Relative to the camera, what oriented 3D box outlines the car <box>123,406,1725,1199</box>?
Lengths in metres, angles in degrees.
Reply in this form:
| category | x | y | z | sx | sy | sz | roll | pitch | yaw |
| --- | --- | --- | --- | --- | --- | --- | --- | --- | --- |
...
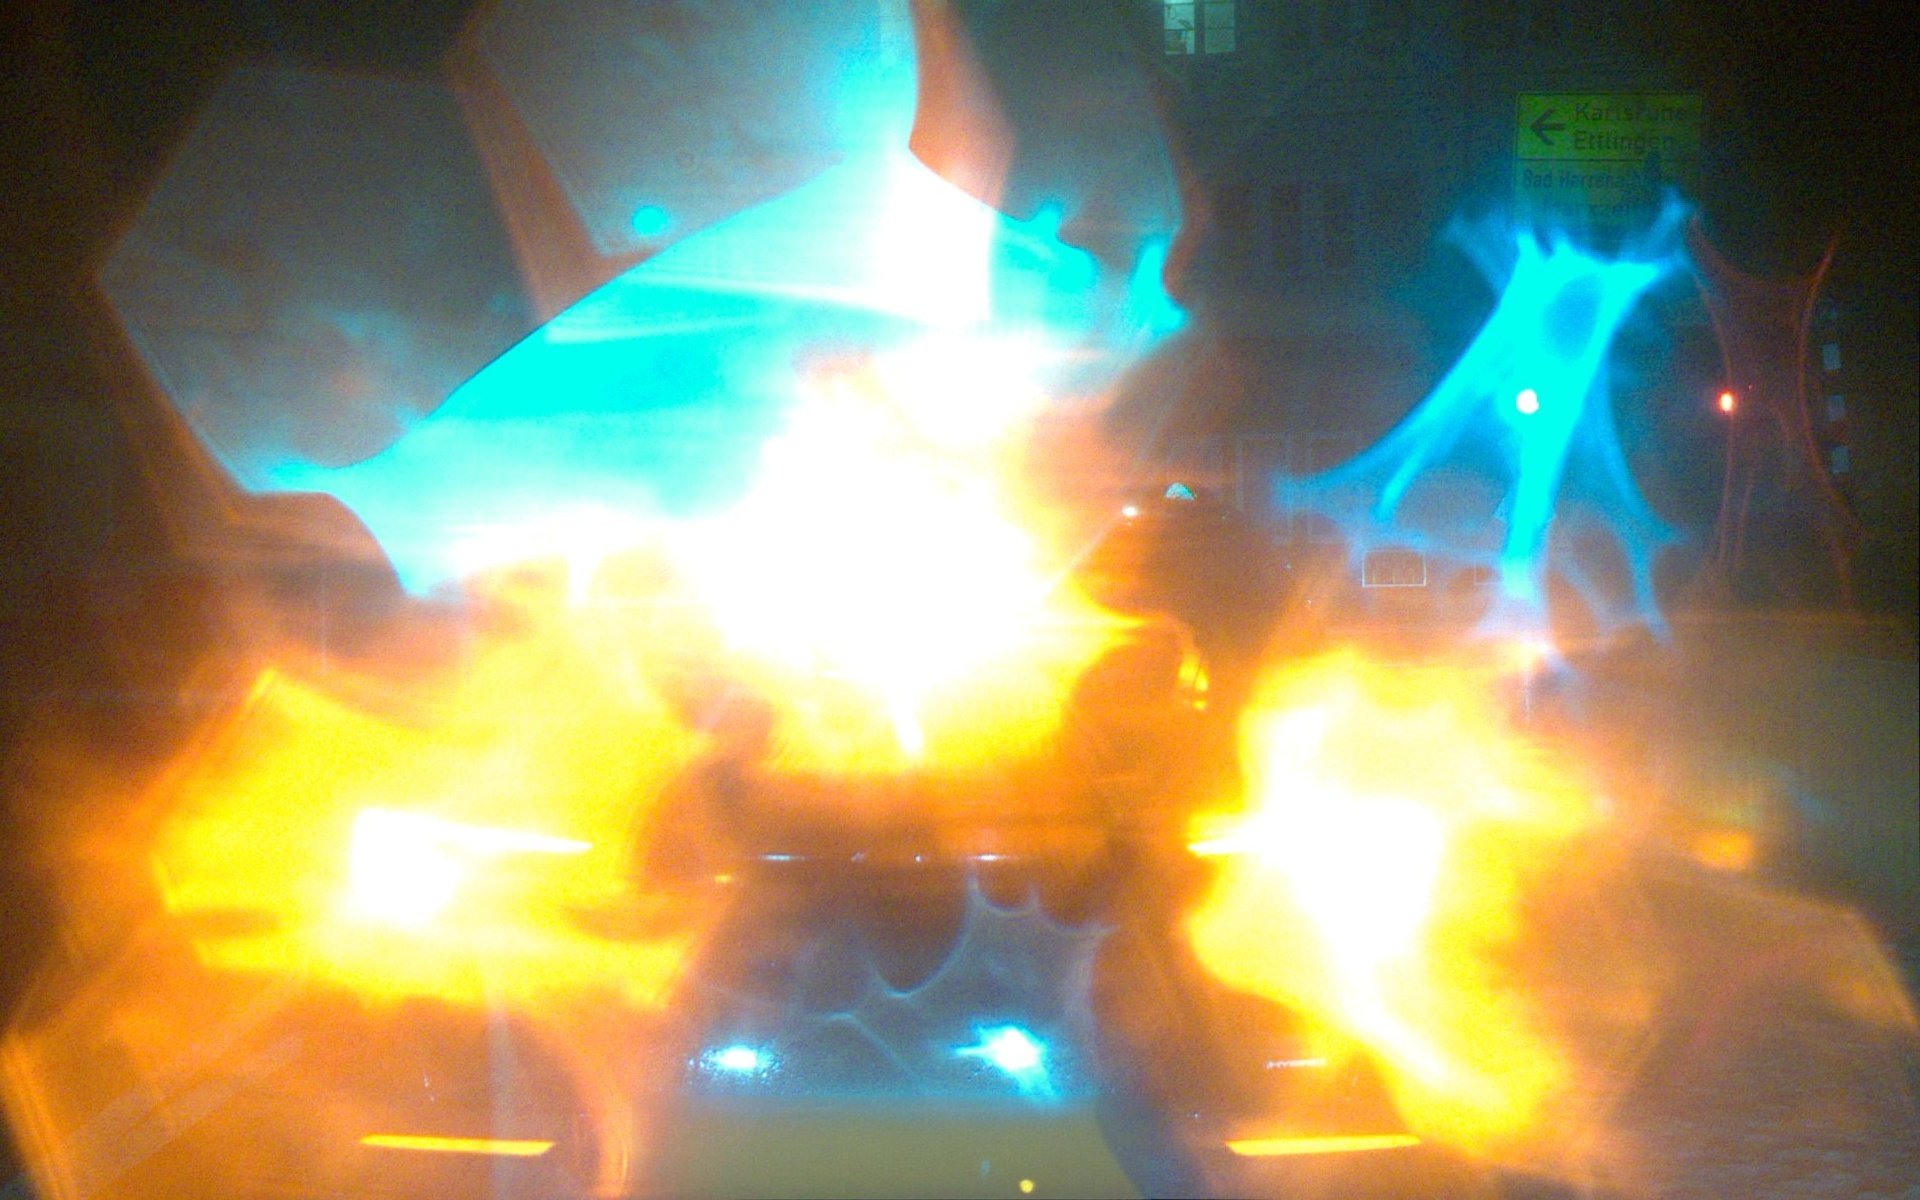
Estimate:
| category | x | y | z | sx | sy | sz | roll | pitch | yaw |
| --- | --- | --- | --- | --- | --- | --- | --- | --- | --- |
| car | -0.058 | 0.581 | 6.551 | 2.057 | 1.672 | 4.140 | -2 | 1 | -1 |

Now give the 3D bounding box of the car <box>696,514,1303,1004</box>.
| category | x | y | z | sx | sy | sz | roll | pitch | yaw |
| --- | --- | --- | --- | --- | --- | --- | --- | --- | --- |
| car | 0.130 | 0.469 | 13.347 | 1.909 | 1.505 | 4.241 | -3 | 1 | 0 |
